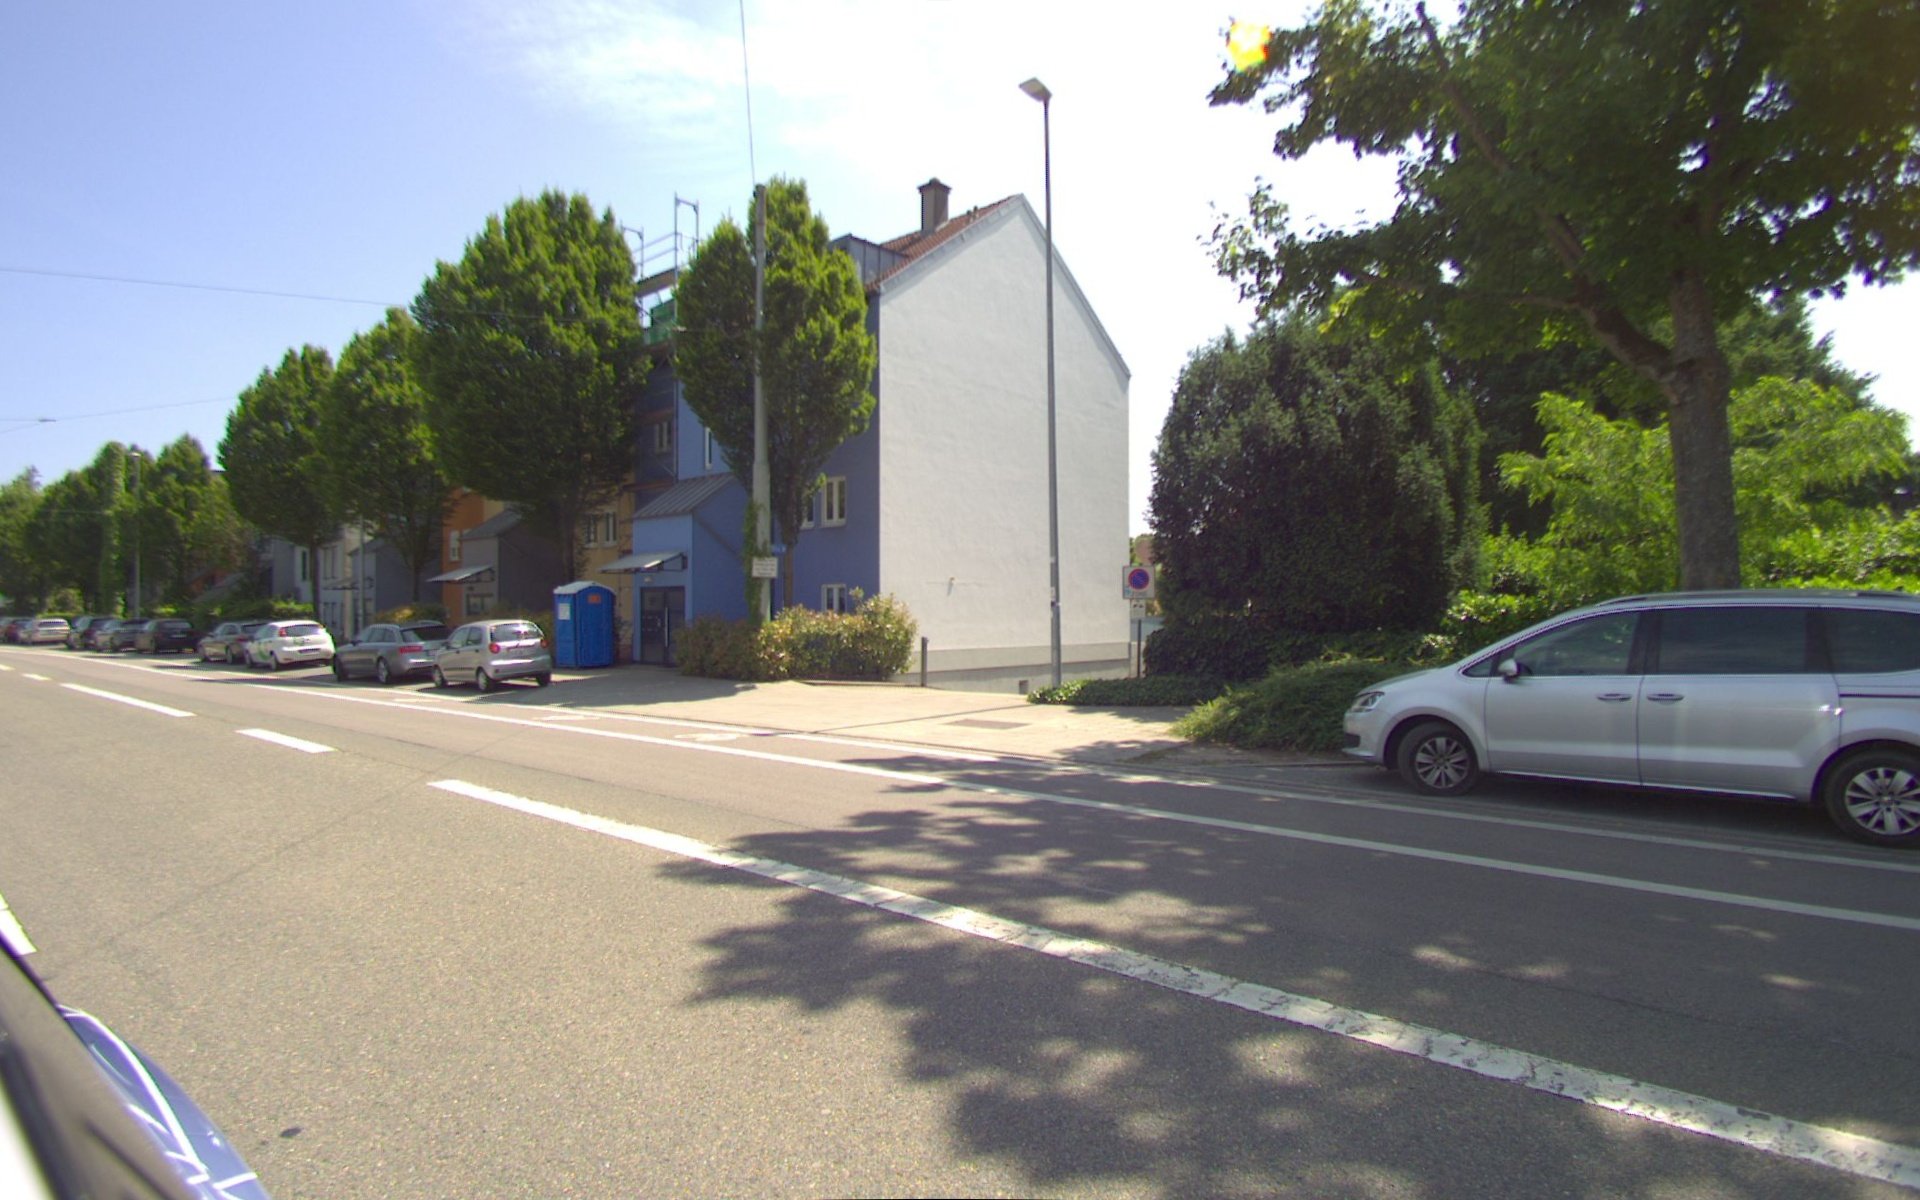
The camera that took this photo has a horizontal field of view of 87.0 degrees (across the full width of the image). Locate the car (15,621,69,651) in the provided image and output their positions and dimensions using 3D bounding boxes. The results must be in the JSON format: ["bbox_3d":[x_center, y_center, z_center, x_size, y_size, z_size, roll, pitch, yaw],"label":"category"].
[{"bbox_3d":[-52.098,2.024,57.411,4.079,1.507,1.702,-1,2,40],"label":"car"}]

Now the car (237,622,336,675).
[{"bbox_3d":[-21.783,1.516,32.705,3.646,1.507,1.636,-1,2,40],"label":"car"}]

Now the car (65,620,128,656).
[{"bbox_3d":[-42.968,1.860,50.337,4.079,1.599,1.636,-1,2,40],"label":"car"}]

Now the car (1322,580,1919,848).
[{"bbox_3d":[5.624,0.739,8.174,4.687,1.701,1.949,-1,0,43],"label":"car"}]

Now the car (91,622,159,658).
[{"bbox_3d":[-38.396,1.805,46.507,4.079,1.507,1.636,-1,2,40],"label":"car"}]

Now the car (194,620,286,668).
[{"bbox_3d":[-25.873,1.545,36.319,4.079,1.507,1.636,-1,2,40],"label":"car"}]

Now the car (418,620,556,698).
[{"bbox_3d":[-10.617,1.256,22.637,3.279,1.507,1.487,-1,3,40],"label":"car"}]

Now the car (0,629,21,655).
[{"bbox_3d":[-60.686,2.664,63.684,3.467,1.507,1.842,-1,2,40],"label":"car"}]

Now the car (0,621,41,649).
[{"bbox_3d":[-56.771,2.097,60.772,3.467,1.507,1.842,-1,2,40],"label":"car"}]

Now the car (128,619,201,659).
[{"bbox_3d":[-34.394,1.653,43.713,4.079,1.507,1.636,-1,2,40],"label":"car"}]

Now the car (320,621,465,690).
[{"bbox_3d":[-14.567,1.348,25.876,4.635,1.507,1.659,-1,2,40],"label":"car"}]
